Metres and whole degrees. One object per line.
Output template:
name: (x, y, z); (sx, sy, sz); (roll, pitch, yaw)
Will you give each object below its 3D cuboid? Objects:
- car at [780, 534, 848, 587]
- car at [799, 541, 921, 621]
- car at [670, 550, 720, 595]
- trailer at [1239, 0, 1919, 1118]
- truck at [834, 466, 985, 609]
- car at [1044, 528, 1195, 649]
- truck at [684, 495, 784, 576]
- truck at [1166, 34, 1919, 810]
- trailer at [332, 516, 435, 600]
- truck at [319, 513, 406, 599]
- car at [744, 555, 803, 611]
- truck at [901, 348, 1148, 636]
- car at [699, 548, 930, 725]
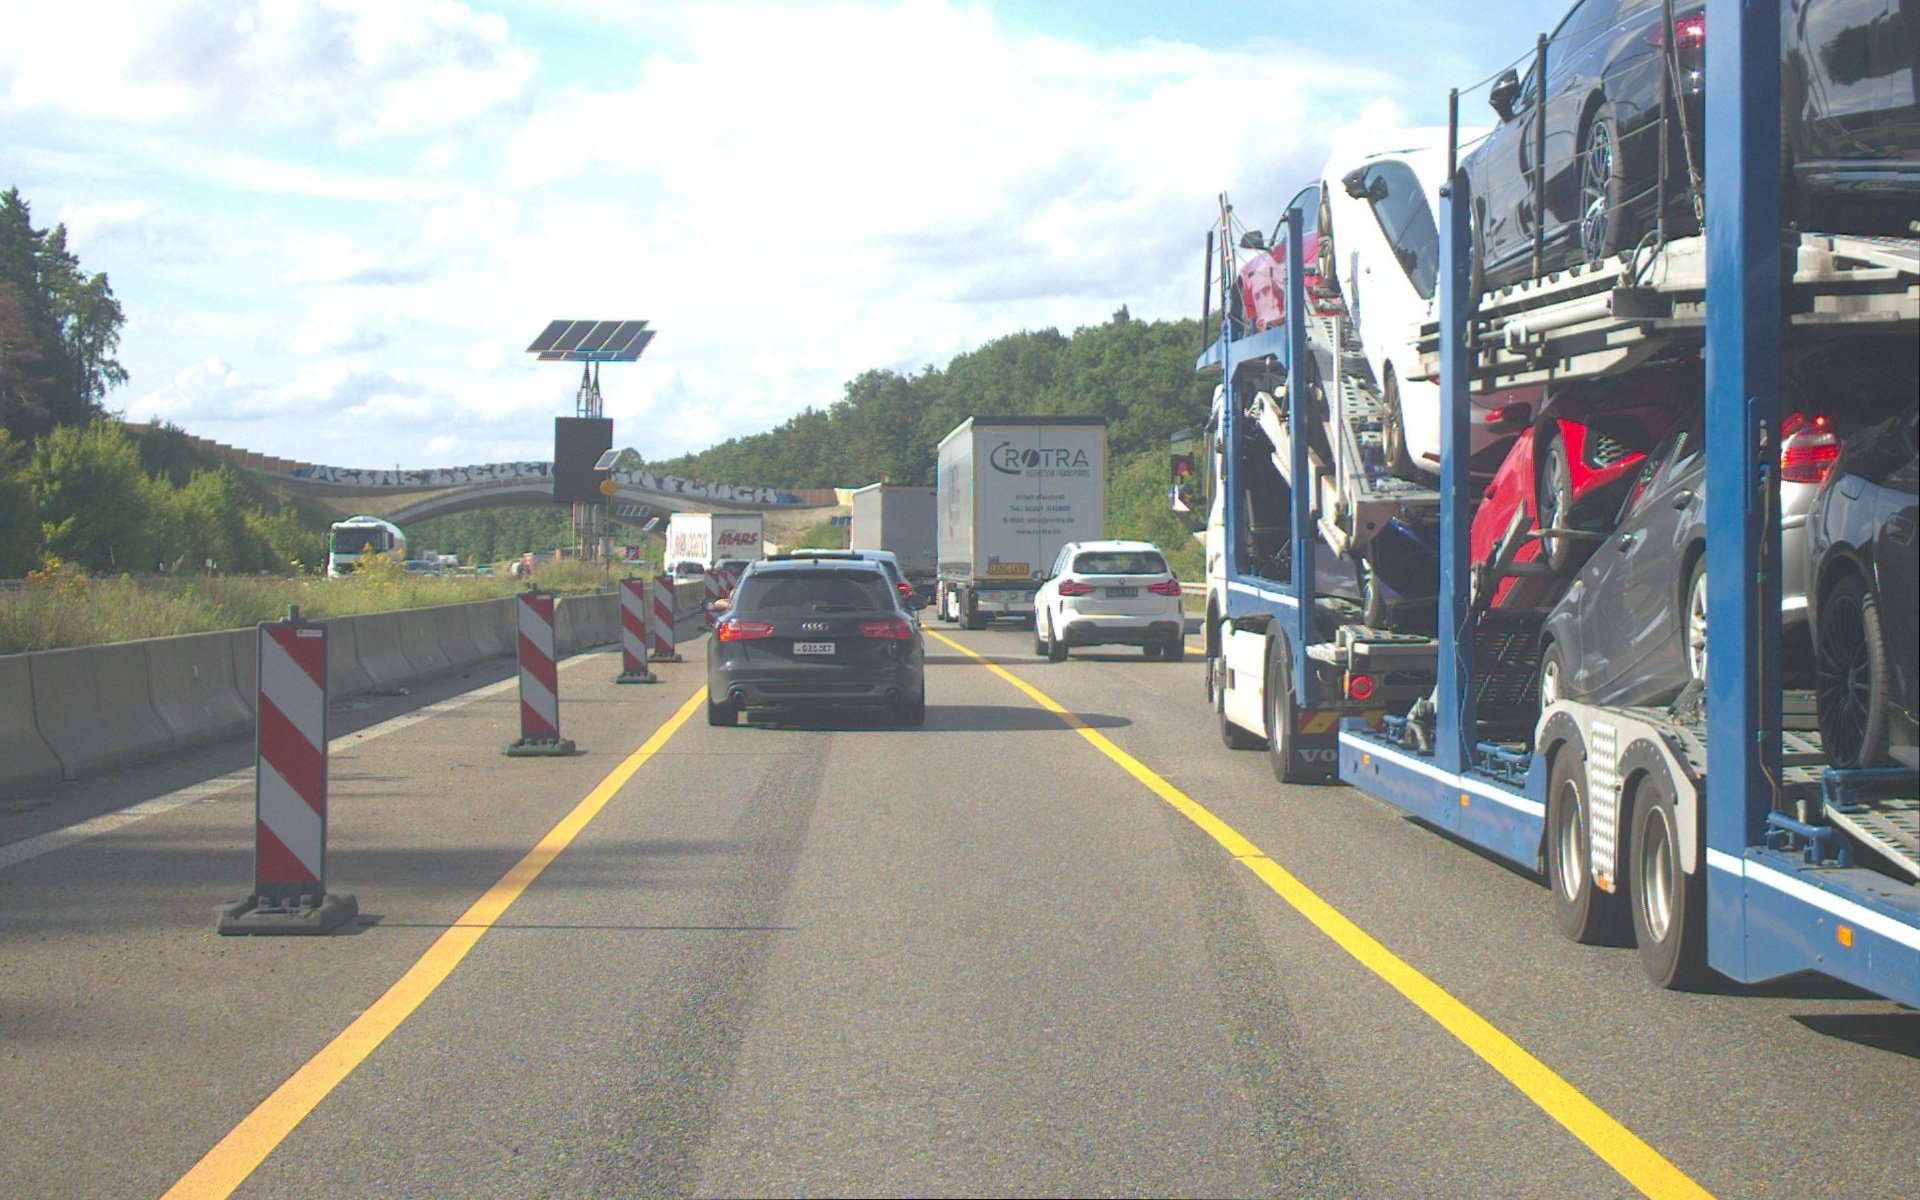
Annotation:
car: (-4.609, -1.243, 108.146); (1.890, 1.638, 4.018); (0, 1, -6)
car: (-1.902, -0.365, 64.325); (1.890, 1.441, 4.001); (0, 1, -7)
car: (-12.240, -1.279, 158.479); (1.993, 2.007, 4.001); (0, 1, -8)
trailer: (4.083, -0.801, 14.339); (3.726, 4.182, 16.229); (0, 1, -3)
truck: (-1.842, -2.077, 117.094); (4.318, 4.584, 11.127); (0, 1, -5)
car: (2.220, -0.181, 48.830); (1.890, 1.638, 4.018); (0, 1, -1)
truck: (-11.482, -3.208, 173.651); (3.653, 3.915, 11.070); (0, 1, -11)
truck: (3.671, -0.995, 22.643); (3.761, 4.182, 7.952); (0, 1, -3)
trailer: (-24.826, -1.814, 148.580); (2.802, 3.478, 11.113); (0, 1, -1)
truck: (-24.712, -1.811, 142.429); (2.785, 3.478, 4.939); (0, 0, -1)
car: (-6.830, -0.621, 125.463); (1.993, 2.007, 4.001); (0, 1, -5)
truck: (1.068, -2.097, 72.274); (3.677, 5.335, 16.204); (0, 1, -4)
car: (-1.225, 0.283, 30.290); (1.890, 1.441, 4.000); (0, 1, -1)
